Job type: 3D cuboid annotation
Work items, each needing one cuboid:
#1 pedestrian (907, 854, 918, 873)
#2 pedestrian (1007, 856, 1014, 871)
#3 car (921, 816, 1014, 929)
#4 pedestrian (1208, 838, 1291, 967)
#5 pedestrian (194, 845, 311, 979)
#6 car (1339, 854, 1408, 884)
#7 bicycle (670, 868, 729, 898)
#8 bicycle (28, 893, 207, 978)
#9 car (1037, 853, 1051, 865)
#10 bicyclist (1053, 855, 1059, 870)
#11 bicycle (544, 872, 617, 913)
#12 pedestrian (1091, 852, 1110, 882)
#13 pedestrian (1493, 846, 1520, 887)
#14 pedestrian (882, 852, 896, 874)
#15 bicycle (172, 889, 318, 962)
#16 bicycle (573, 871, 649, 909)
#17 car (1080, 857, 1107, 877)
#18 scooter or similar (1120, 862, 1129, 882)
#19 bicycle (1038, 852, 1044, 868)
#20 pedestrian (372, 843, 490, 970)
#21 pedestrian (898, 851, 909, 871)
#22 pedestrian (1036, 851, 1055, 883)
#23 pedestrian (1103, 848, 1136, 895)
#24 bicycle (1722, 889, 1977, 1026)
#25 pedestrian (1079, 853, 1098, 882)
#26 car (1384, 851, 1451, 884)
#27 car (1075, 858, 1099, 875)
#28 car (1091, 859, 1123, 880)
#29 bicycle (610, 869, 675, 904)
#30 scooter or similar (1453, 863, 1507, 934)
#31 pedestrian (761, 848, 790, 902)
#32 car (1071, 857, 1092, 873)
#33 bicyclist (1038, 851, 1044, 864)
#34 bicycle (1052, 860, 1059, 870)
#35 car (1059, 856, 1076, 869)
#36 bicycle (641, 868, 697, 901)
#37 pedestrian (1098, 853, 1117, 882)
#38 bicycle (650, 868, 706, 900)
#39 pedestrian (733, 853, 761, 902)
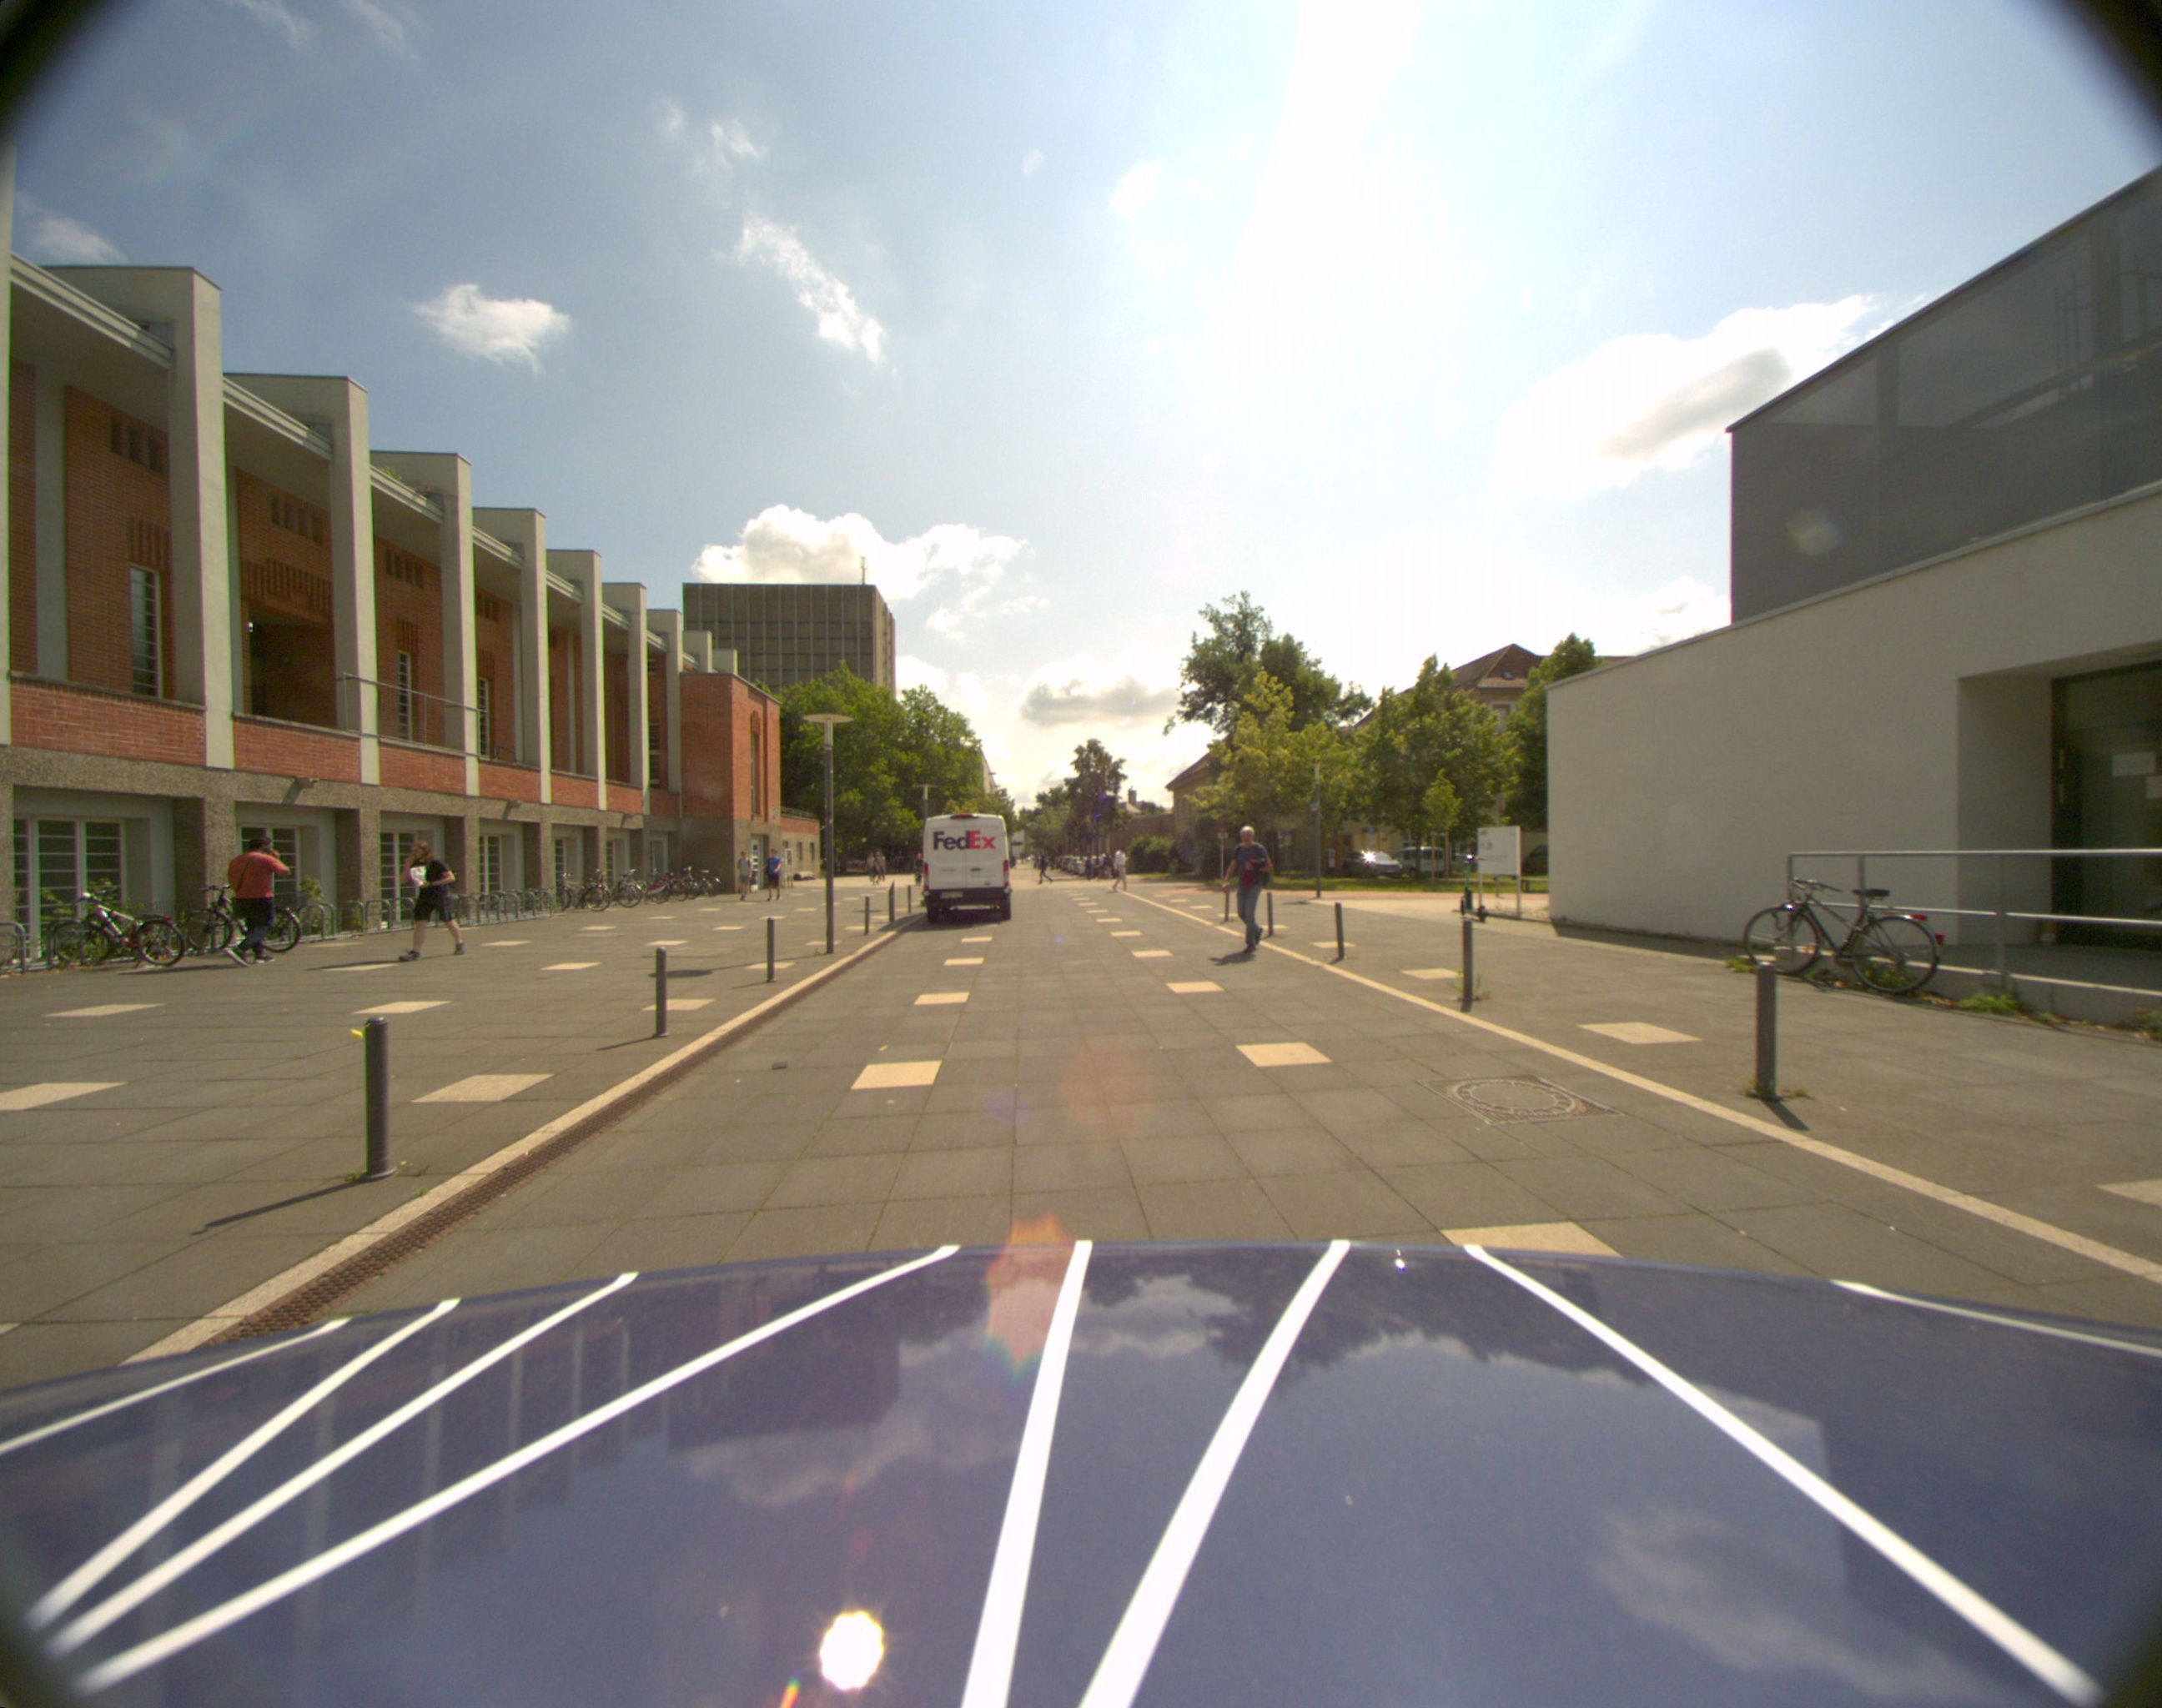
[{"bbox_3d":[-14.954,0.858,67.560,0.752,1.663,0.844,0,0,-26],"label":"pedestrian"},{"bbox_3d":[-6.586,0.865,70.724,0.585,1.433,0.638,0,0,-3],"label":"pedestrian"},{"bbox_3d":[-2.851,0.423,20.074,2.065,2.528,5.846,0,0,-6],"label":"car"},{"bbox_3d":[2.488,0.682,11.342,0.826,1.807,1.143,-1,0,-9],"label":"pedestrian"},{"bbox_3d":[-11.785,0.788,10.846,0.665,1.823,0.906,-1,1,-5],"label":"pedestrian"},{"bbox_3d":[16.897,0.838,44.198,1.899,1.572,4.647,0,1,-5],"label":"car"},{"bbox_3d":[-14.467,1.082,28.833,1.935,1.103,0.456,0,0,-6],"label":"bicycle"},{"bbox_3d":[-13.338,1.111,10.548,1.752,1.103,0.435,0,0,-6],"label":"bicycle"},{"bbox_3d":[-5.507,0.744,112.250,1.933,1.624,4.371,-1,0,-3],"label":"car"},{"bbox_3d":[-2.762,0.893,83.487,0.630,1.596,1.328,0,0,-6],"label":"bicyclist"},{"bbox_3d":[-13.979,1.078,21.233,1.687,1.103,0.435,0,0,-6],"label":"bicycle"},{"bbox_3d":[1.150,0.783,45.266,0.728,1.776,0.898,-1,1,-44],"label":"pedestrian"},{"bbox_3d":[19.160,0.551,34.239,0.637,1.778,0.870,-6,6,-42],"label":"pedestrian"},{"bbox_3d":[-16.940,0.786,67.115,0.984,1.935,0.976,-2,1,-26],"label":"pedestrian"},{"bbox_3d":[-13.233,1.118,12.059,1.687,1.103,0.435,0,0,-6],"label":"bicycle"},{"bbox_3d":[-14.151,1.070,22.899,1.917,1.103,0.435,0,0,-6],"label":"bicycle"},{"bbox_3d":[0.877,0.938,55.517,1.635,1.422,3.631,-1,0,-4],"label":"car"},{"bbox_3d":[2.612,1.074,45.788,0.470,1.209,1.204,0,0,1],"label":"scooter or similar"},{"bbox_3d":[-4.407,0.664,82.902,0.588,1.670,1.758,0,0,-6],"label":"bicycle"},{"bbox_3d":[-9.907,0.761,11.641,0.847,1.823,1.196,-1,0,-9],"label":"pedestrian"},{"bbox_3d":[-15.709,0.643,67.232,0.783,1.780,0.713,0,0,-25],"label":"pedestrian"},{"bbox_3d":[-2.008,0.715,42.859,0.871,1.776,0.570,0,0,25],"label":"pedestrian"},{"bbox_3d":[1.555,0.677,30.542,1.022,1.837,0.918,1,0,27],"label":"pedestrian"},{"bbox_3d":[7.198,0.904,7.272,0.544,1.055,1.899,-1,0,1],"label":"bicycle"},{"bbox_3d":[0.447,0.788,44.464,0.623,1.706,1.002,0,0,-42],"label":"pedestrian"},{"bbox_3d":[19.453,0.721,44.166,1.812,1.776,4.122,0,1,-5],"label":"car"},{"bbox_3d":[0.457,0.997,61.863,1.649,1.368,3.999,-1,0,-3],"label":"car"},{"bbox_3d":[1.666,0.962,49.451,1.701,1.287,3.761,0,0,-3],"label":"car"},{"bbox_3d":[-14.252,1.058,24.709,1.802,1.103,0.435,0,0,-6],"label":"bicycle"},{"bbox_3d":[7.509,0.817,14.339,0.483,1.255,1.314,-1,0,8],"label":"scooter or similar"},{"bbox_3d":[-10.876,0.718,27.072,0.666,1.879,1.109,0,1,-7],"label":"pedestrian"},{"bbox_3d":[0.028,0.993,69.965,1.718,1.424,3.999,-1,0,-3],"label":"car"},{"bbox_3d":[-4.411,0.403,82.898,0.588,1.444,1.233,0,0,-6],"label":"bicyclist"},{"bbox_3d":[-2.762,1.188,83.443,0.626,1.134,1.811,0,0,-6],"label":"bicycle"},{"bbox_3d":[-1.779,1.032,97.036,1.933,1.624,4.371,-1,0,-3],"label":"car"},{"bbox_3d":[-14.273,1.063,26.338,1.655,1.103,0.435,0,0,-6],"label":"bicycle"},{"bbox_3d":[1.596,0.807,45.938,0.970,1.706,0.559,0,1,31],"label":"pedestrian"},{"bbox_3d":[-14.334,1.077,27.032,1.699,1.103,0.435,0,0,-6],"label":"bicycle"},{"bbox_3d":[-11.799,0.826,26.864,0.586,1.697,1.001,0,1,-3],"label":"pedestrian"}]
